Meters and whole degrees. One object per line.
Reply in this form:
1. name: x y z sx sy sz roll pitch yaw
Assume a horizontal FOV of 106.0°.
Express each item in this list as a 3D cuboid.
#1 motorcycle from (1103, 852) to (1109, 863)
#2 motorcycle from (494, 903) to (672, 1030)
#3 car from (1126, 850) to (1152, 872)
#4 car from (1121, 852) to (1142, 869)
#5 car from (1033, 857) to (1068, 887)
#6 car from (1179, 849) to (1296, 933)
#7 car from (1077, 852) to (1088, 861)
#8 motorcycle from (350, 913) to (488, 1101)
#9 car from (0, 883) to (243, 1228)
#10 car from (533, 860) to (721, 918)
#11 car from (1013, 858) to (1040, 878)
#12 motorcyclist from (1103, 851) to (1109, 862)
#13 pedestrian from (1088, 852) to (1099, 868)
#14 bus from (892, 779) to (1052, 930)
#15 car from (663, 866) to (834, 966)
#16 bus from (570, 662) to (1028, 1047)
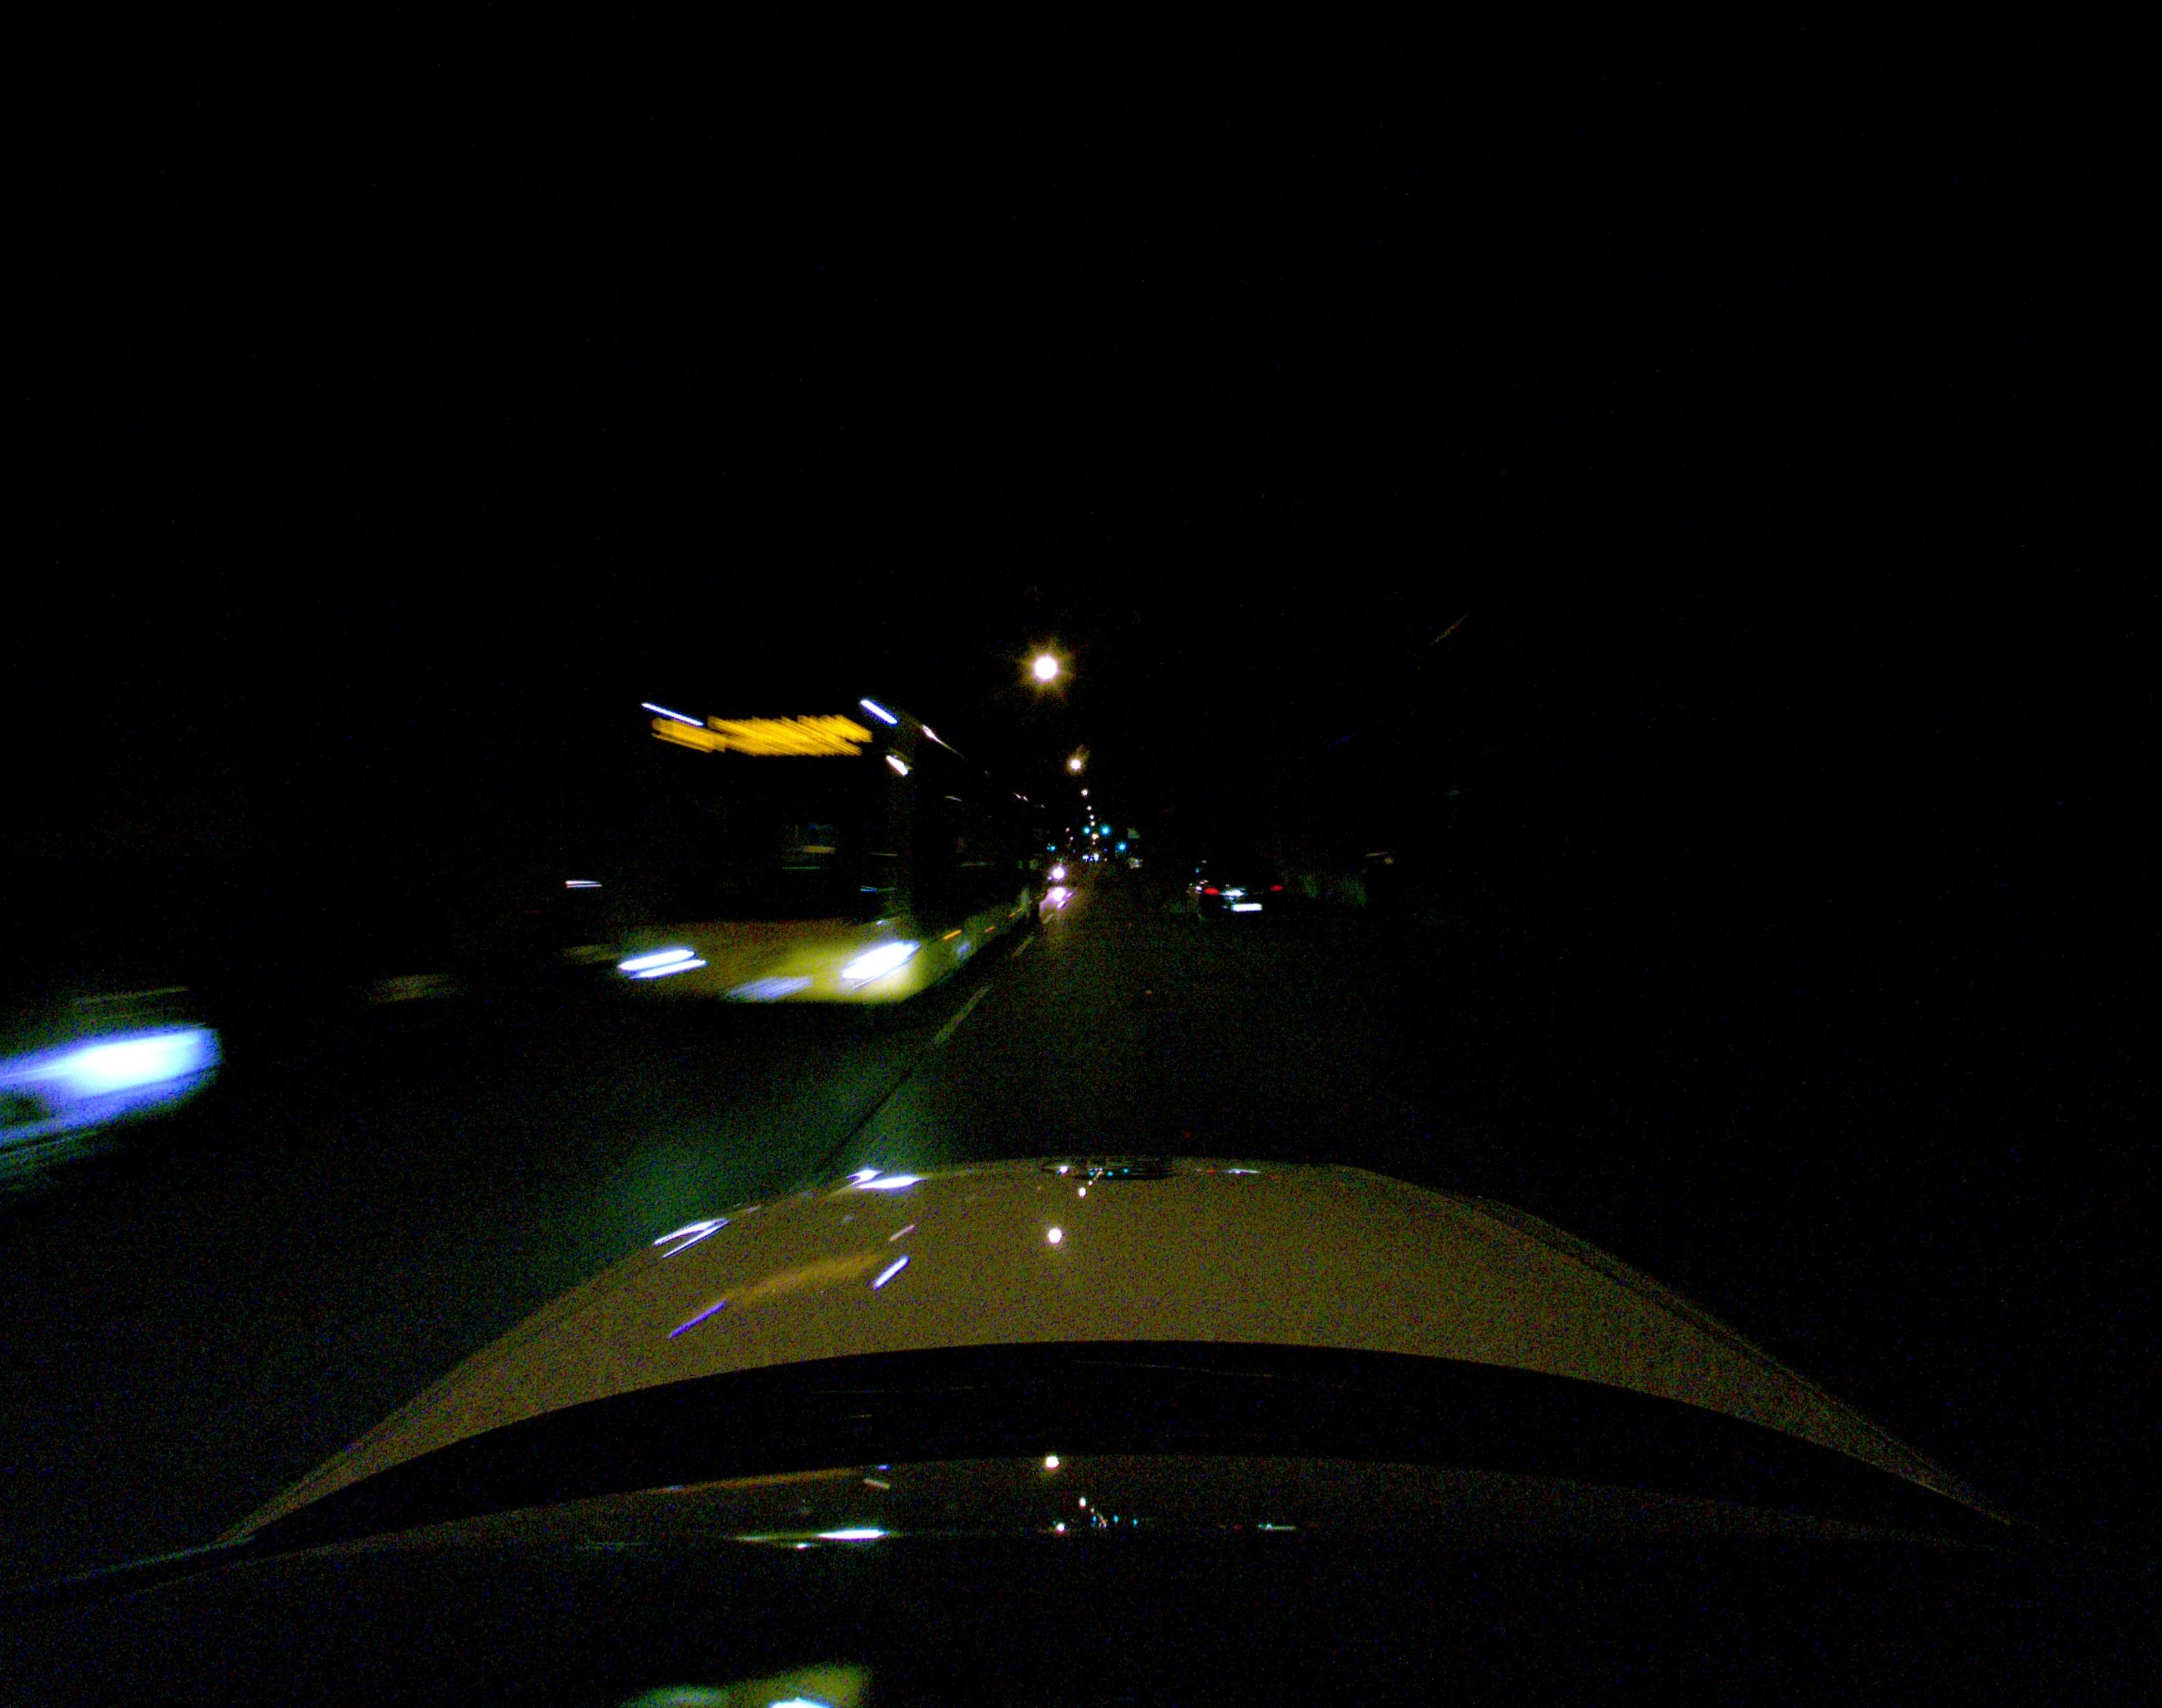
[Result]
1. motorcycle: 3.929 0.604 129.118 0.927 1.752 2.625 -1 -1 2
2. motorcycle: -5.268 1.110 8.557 2.180 1.131 0.720 -2 0 34
3. car: 4.703 0.529 66.155 1.805 1.594 4.275 -3 0 1
4. car: 4.900 0.608 79.595 1.862 1.526 4.151 -3 0 1
5. car: -1.592 0.931 43.566 1.640 1.422 3.870 -3 0 0
6. car: 3.199 0.695 17.421 1.756 1.476 4.082 -4 0 2
7. car: 0.231 0.553 157.702 1.937 1.717 4.001 -1 -1 2
8. motorcycle: -5.354 1.109 6.557 0.720 1.147 2.182 -2 0 -41
9. car: -5.689 0.961 2.521 1.698 1.491 4.228 -3 0 1
10. car: -12.612 0.951 22.804 4.208 1.505 1.874 -1 -1 3
11. car: -4.132 1.018 62.285 1.715 1.437 4.809 -2 0 0
12. motorcyclist: 3.924 0.447 129.116 0.845 1.752 0.806 -1 -1 1
13. pedestrian: 1.391 0.678 88.253 0.928 1.699 0.760 1 0 -26
14. bus: -2.454 0.001 21.194 2.827 3.177 7.664 -1 0 2
15. car: -5.552 0.977 13.934 1.632 1.498 2.767 -2 -1 3
16. bus: -2.713 -0.005 12.080 2.827 3.177 10.502 -1 0 2
